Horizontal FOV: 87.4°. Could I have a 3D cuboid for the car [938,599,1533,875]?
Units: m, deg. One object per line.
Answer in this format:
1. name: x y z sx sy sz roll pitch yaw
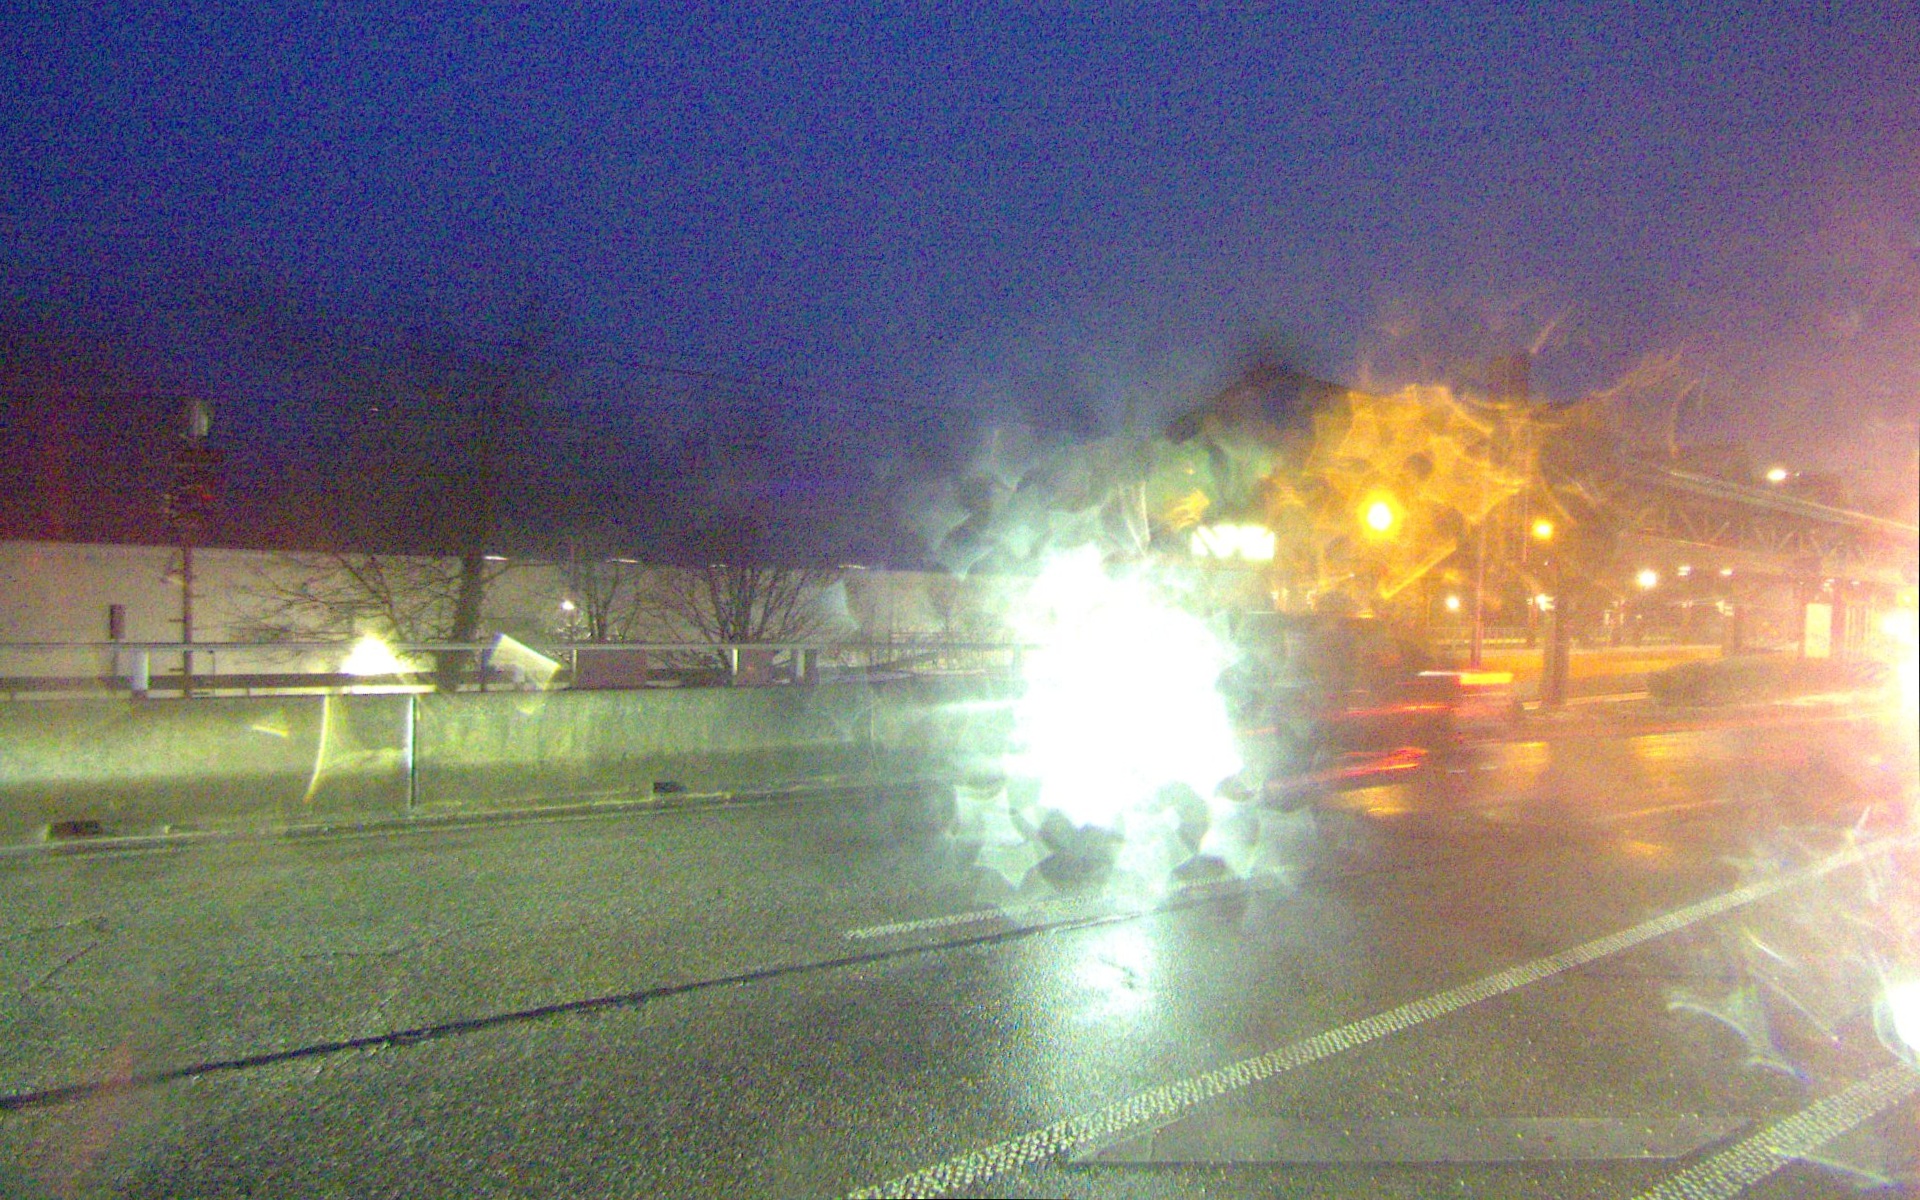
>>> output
1. car: 2.210 0.795 7.759 4.431 1.589 1.879 0 0 -30
